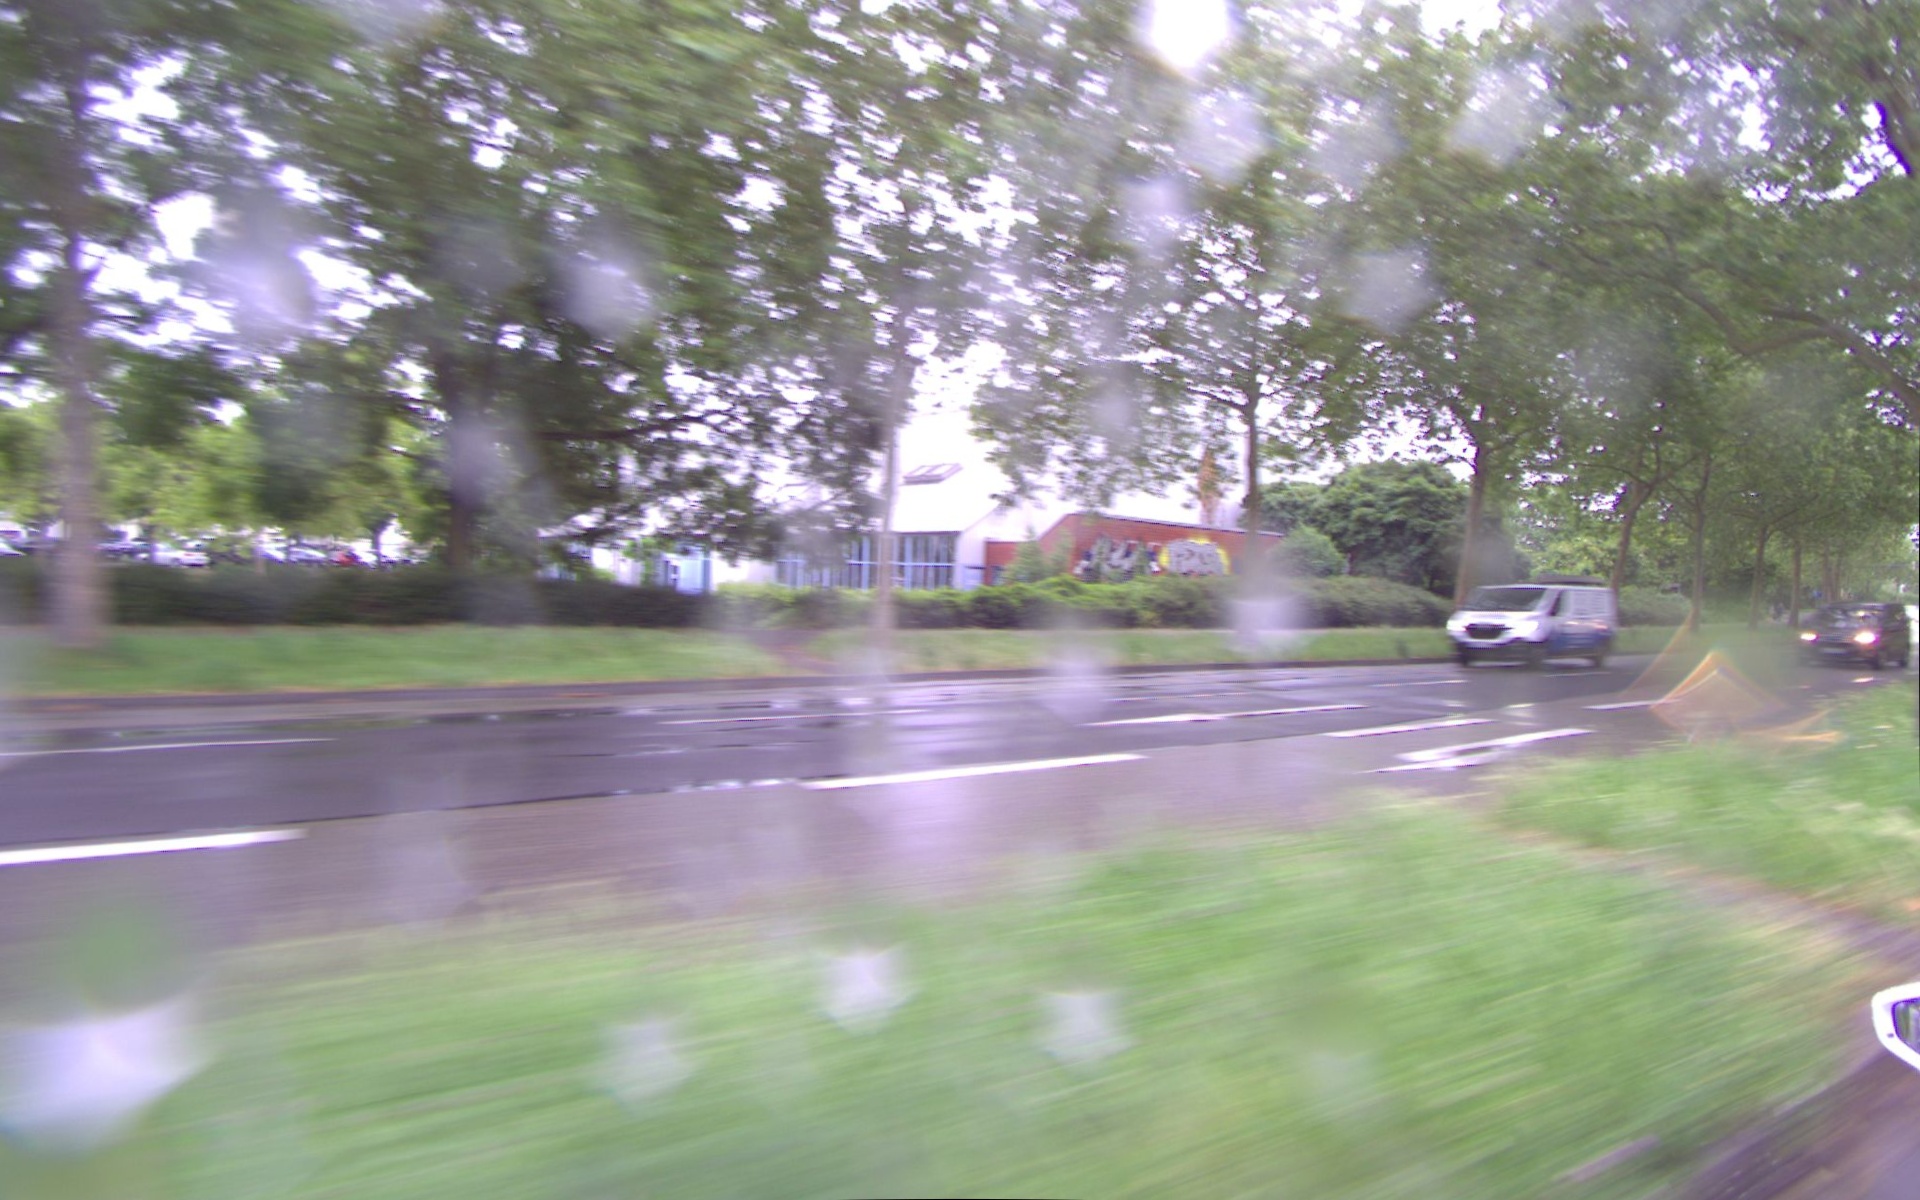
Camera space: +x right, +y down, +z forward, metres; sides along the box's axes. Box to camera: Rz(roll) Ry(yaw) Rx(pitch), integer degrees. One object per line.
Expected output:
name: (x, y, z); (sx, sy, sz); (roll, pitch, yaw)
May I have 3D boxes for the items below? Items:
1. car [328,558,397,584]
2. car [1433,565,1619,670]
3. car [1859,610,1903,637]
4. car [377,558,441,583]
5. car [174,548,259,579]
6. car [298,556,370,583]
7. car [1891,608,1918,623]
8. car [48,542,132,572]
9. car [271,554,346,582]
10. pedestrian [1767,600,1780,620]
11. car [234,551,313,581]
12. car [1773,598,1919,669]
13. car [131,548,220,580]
car: (-48.041, -2.342, 80.750); (4.408, 1.927, 2.001); (2, 1, 6)
car: (13.717, 0.383, 24.210); (5.387, 2.256, 2.014); (1, 1, -39)
car: (58.457, 1.455, 63.723); (4.338, 1.582, 1.726); (1, 1, -44)
car: (-46.654, -2.482, 85.090); (4.408, 1.927, 2.001); (2, 1, 6)
car: (-50.771, -2.472, 68.613); (4.408, 1.927, 2.001); (2, 1, 6)
car: (-48.779, -2.378, 78.323); (4.408, 1.927, 2.001); (2, 1, 6)
car: (99.069, 1.607, 105.415); (1.722, 1.496, 4.390); (2, 1, 39)
car: (-61.384, -3.034, 70.891); (4.408, 1.927, 2.001); (2, 1, 6)
car: (-48.789, -2.377, 75.266); (4.407, 1.927, 2.114); (2, 1, 9)
pedestrian: (70.531, 0.855, 87.112); (0.821, 1.696, 0.895); (2, 1, 41)
car: (-49.390, -2.418, 72.288); (4.408, 1.927, 2.001); (2, 1, 6)
car: (24.737, 0.886, 27.951); (4.905, 1.760, 2.016); (1, 1, -35)
car: (-51.582, -2.356, 66.082); (4.408, 1.927, 2.001); (2, 1, 6)
